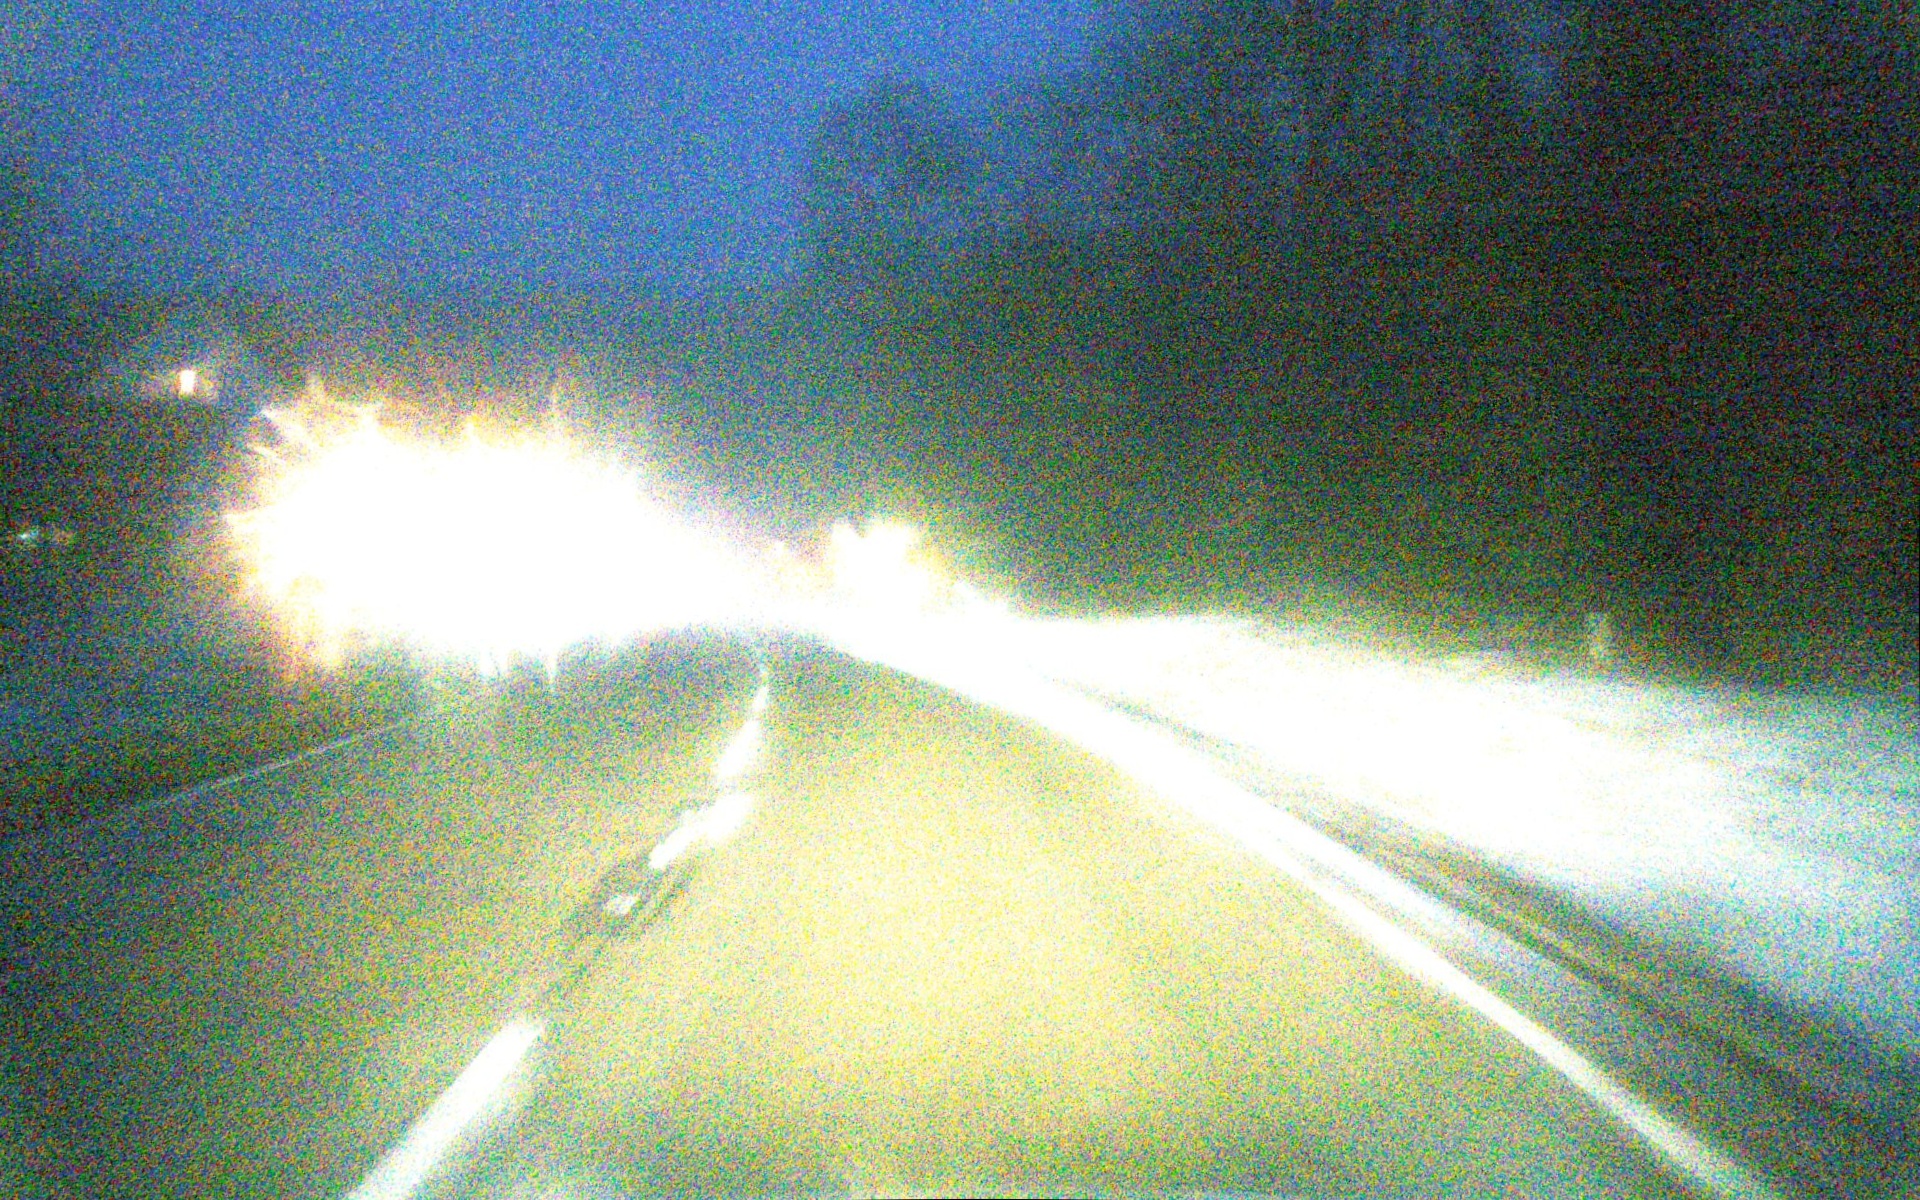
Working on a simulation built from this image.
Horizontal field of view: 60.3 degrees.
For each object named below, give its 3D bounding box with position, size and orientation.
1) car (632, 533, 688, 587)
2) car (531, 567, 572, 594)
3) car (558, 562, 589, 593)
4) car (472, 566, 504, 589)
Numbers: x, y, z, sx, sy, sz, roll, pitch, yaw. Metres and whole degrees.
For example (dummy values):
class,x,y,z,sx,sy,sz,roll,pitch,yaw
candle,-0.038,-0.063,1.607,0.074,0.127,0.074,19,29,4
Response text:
class,x,y,z,sx,sy,sz,roll,pitch,yaw
car,-16.477,-2.213,90.554,2.496,2.540,5.695,2,4,-15
car,-25.347,-1.198,102.481,1.928,1.548,4.372,2,0,-21
car,-27.092,-1.579,115.952,1.959,2.049,3.987,2,0,-13
car,-34.105,-1.665,119.461,1.689,1.501,3.842,3,1,-23
